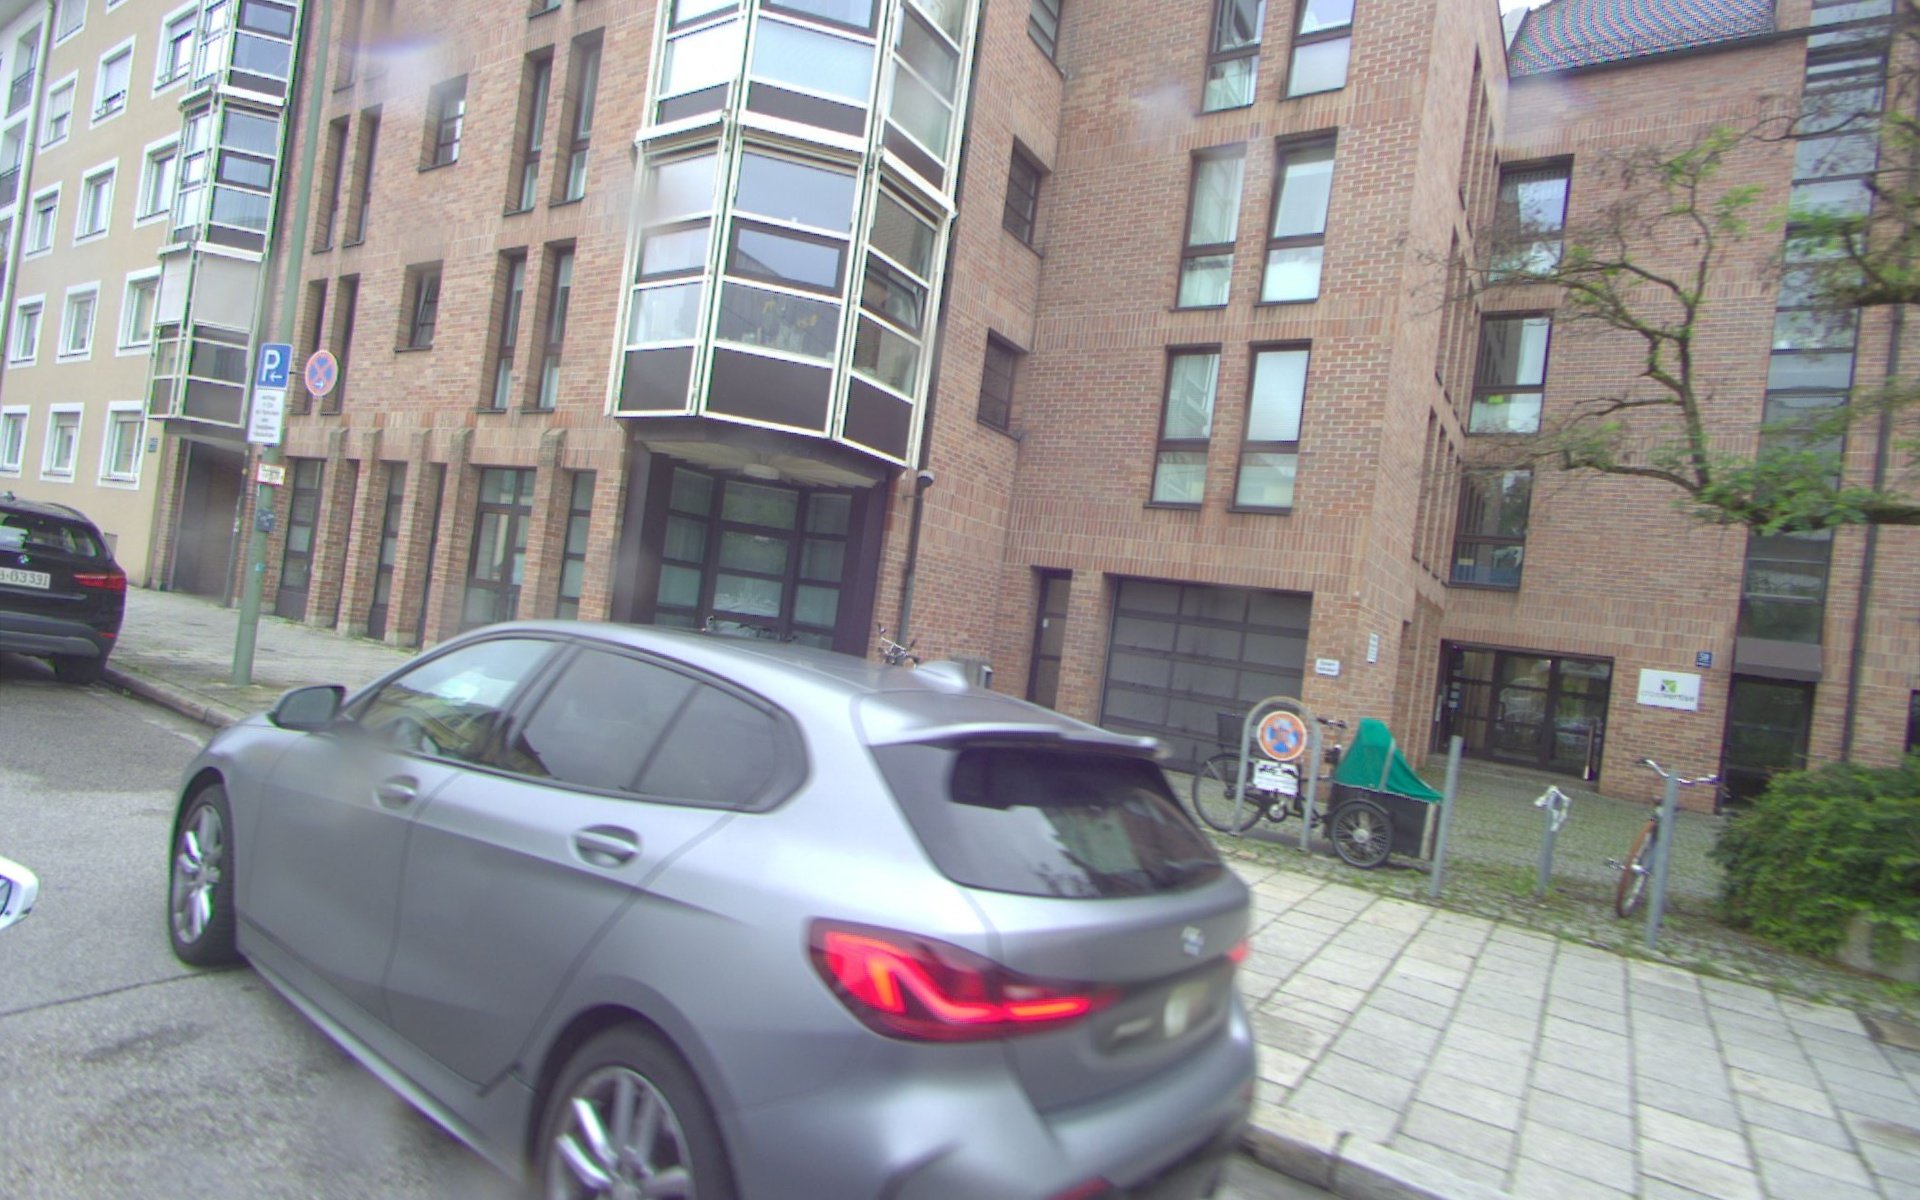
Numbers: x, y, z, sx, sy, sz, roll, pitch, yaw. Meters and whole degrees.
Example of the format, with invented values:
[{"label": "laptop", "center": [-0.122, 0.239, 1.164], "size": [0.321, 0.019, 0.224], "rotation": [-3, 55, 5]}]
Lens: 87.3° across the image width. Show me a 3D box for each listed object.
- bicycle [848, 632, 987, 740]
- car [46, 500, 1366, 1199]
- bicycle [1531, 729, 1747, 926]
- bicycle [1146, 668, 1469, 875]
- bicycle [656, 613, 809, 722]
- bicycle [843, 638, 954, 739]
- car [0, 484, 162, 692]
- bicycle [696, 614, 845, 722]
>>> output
[{"label": "bicycle", "center": [-0.499, 1.118, 12.736], "size": [0.481, 1.159, 1.848], "rotation": [8, -3, 41]}, {"label": "car", "center": [-1.169, 0.705, 3.482], "size": [4.323, 1.528, 1.929], "rotation": [7, -3, 35]}, {"label": "bicycle", "center": [5.174, 1.692, 7.764], "size": [0.414, 1.186, 1.359], "rotation": [9, -2, -10]}, {"label": "bicycle", "center": [2.841, 1.360, 8.383], "size": [2.372, 1.262, 0.535], "rotation": [6, -3, 30]}, {"label": "bicycle", "center": [-2.842, 0.817, 12.466], "size": [1.963, 1.071, 0.487], "rotation": [6, -3, 33]}, {"label": "bicycle", "center": [-0.785, 1.188, 13.214], "size": [0.377, 1.159, 1.477], "rotation": [8, -2, 41]}, {"label": "car", "center": [-9.572, -0.348, 9.408], "size": [4.195, 1.619, 1.835], "rotation": [8, -2, 32]}, {"label": "bicycle", "center": [-2.461, 0.856, 12.943], "size": [1.963, 1.071, 0.487], "rotation": [8, -2, 33]}]
